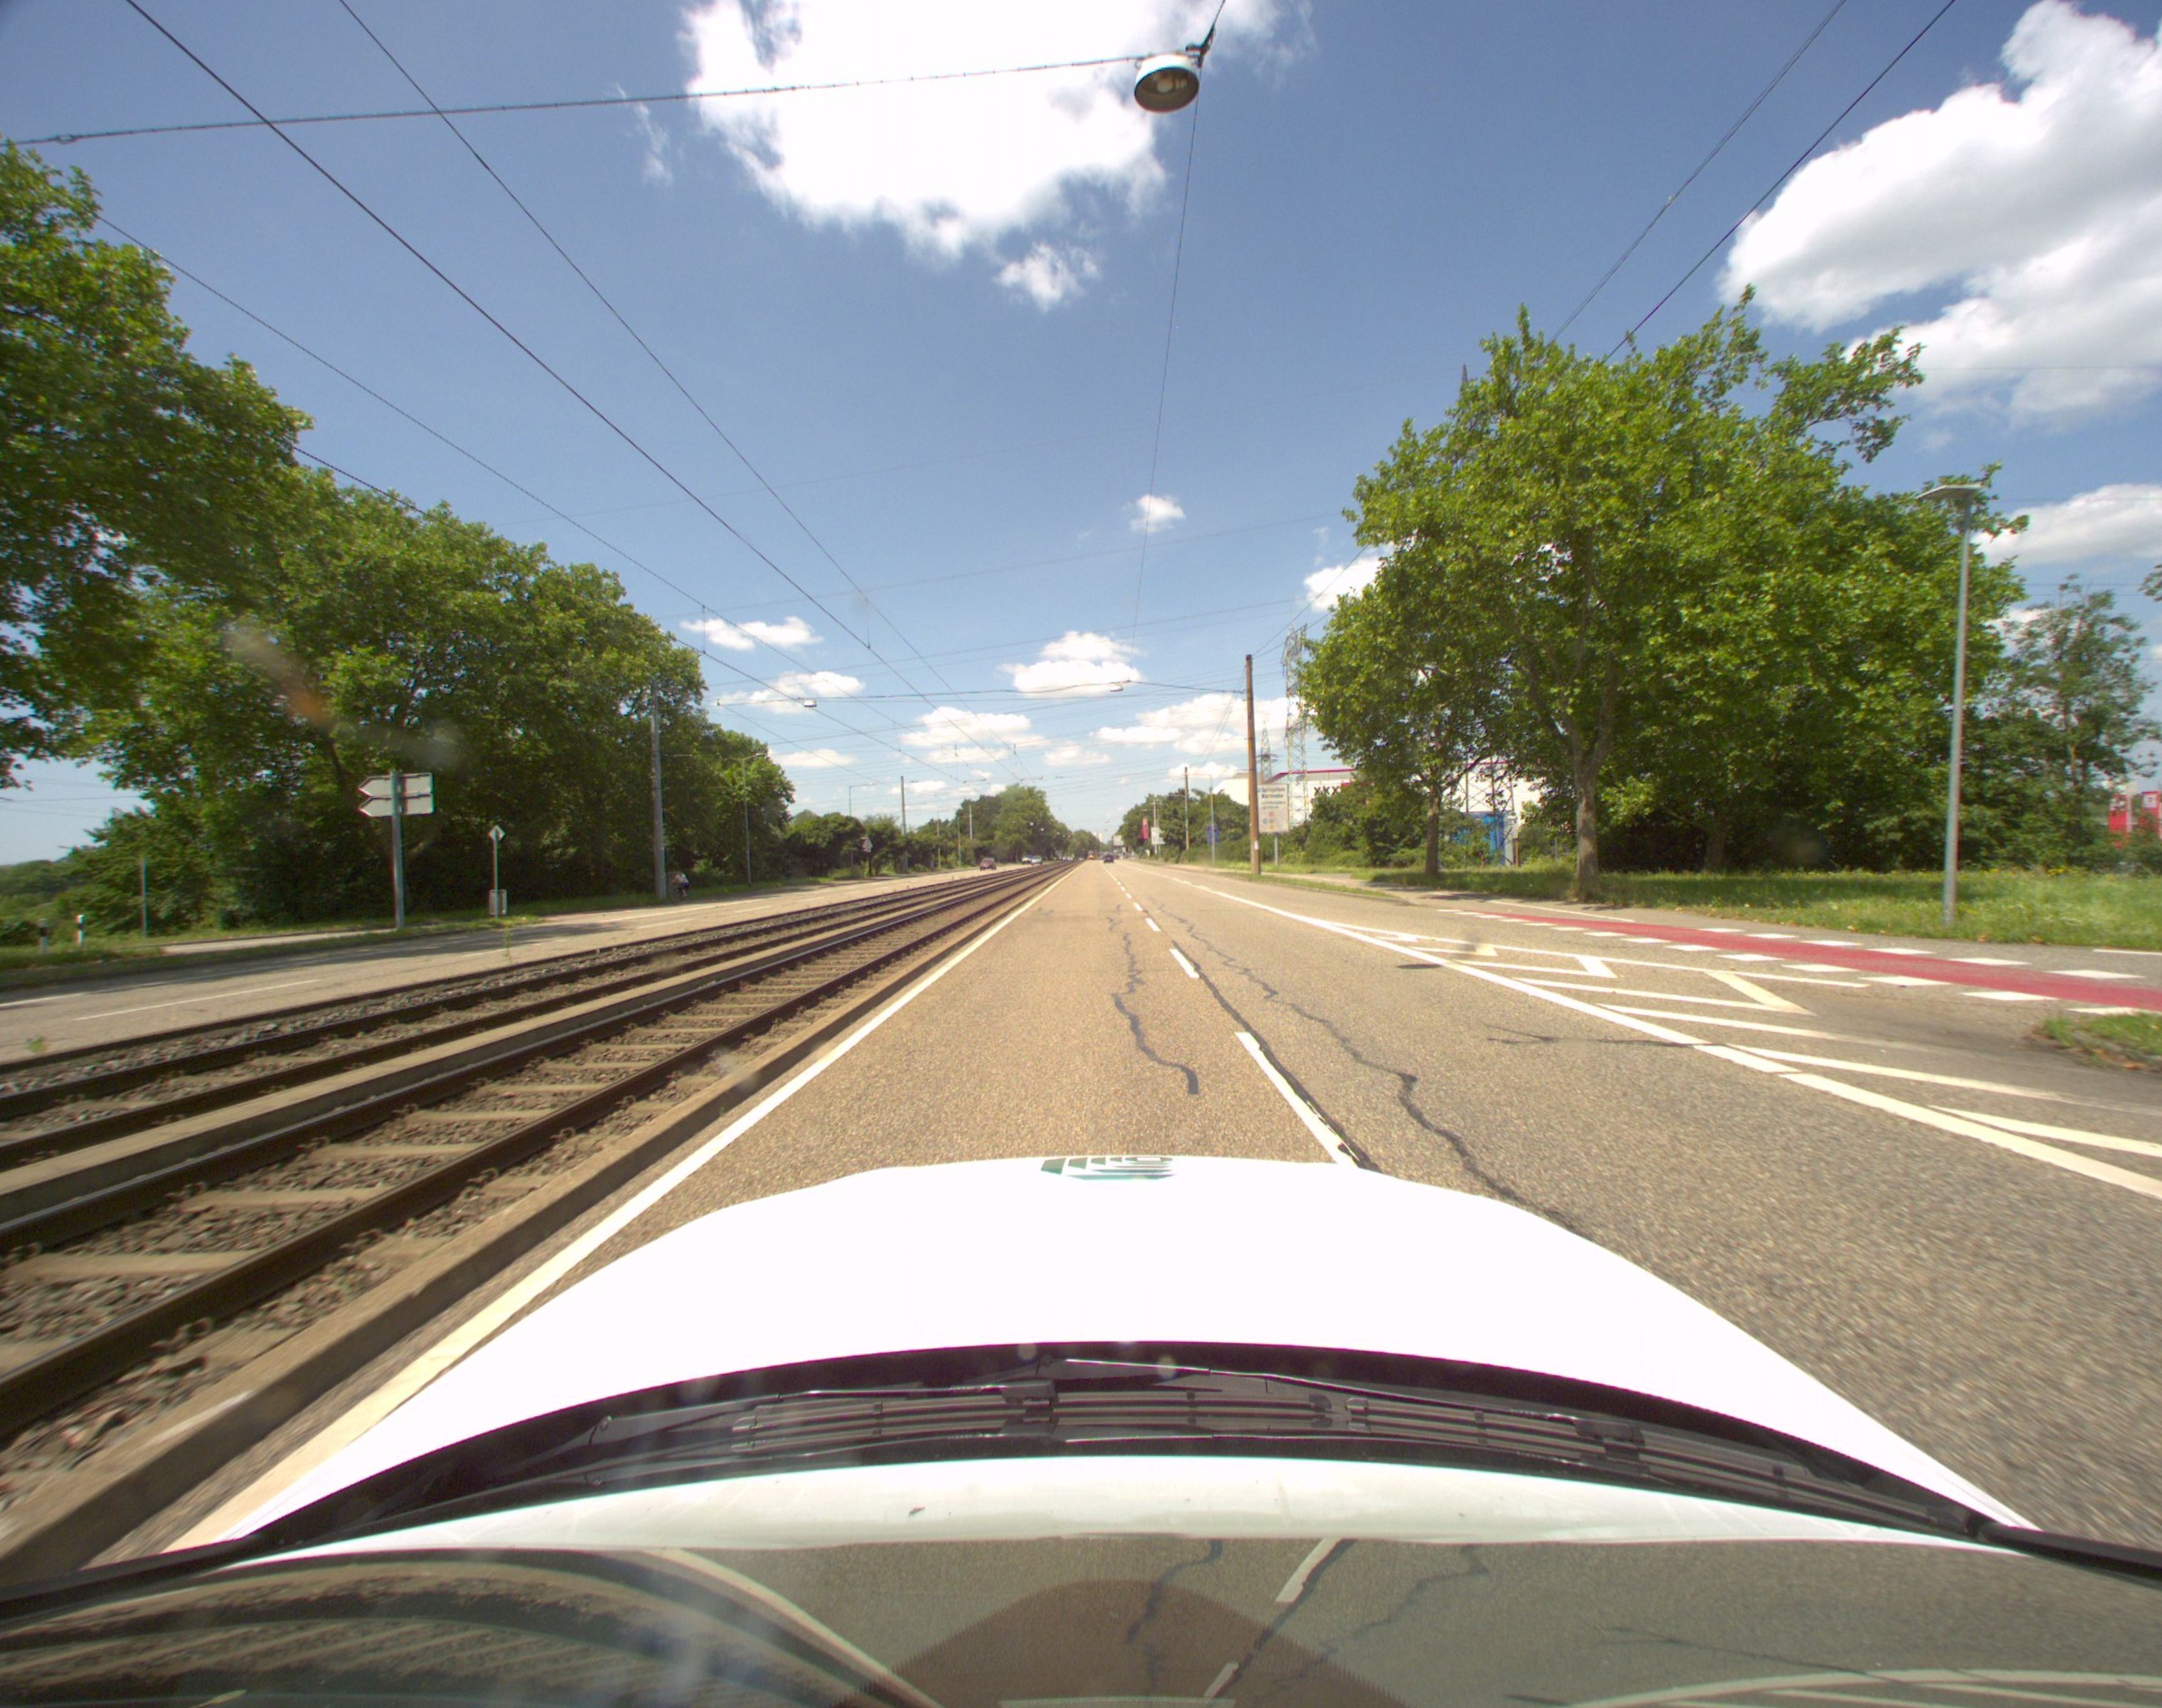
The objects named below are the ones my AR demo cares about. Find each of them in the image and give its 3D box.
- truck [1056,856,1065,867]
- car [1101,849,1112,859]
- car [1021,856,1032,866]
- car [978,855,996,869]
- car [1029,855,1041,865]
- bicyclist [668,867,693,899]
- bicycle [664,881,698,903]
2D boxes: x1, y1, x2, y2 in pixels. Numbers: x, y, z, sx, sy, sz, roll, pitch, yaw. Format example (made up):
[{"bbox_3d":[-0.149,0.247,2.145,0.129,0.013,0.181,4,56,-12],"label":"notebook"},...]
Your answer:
[{"bbox_3d":[-6.552,2.310,260.282,2.241,3.236,6.045,-2,0,2],"label":"truck"},{"bbox_3d":[4.461,0.054,143.369,1.893,1.805,3.976,0,0,1],"label":"car"},{"bbox_3d":[-11.302,1.343,168.821,1.851,1.927,5.008,-4,0,1],"label":"car"},{"bbox_3d":[-12.412,1.015,107.795,1.795,1.625,4.212,-3,0,1],"label":"car"},{"bbox_3d":[-8.207,0.992,146.733,1.795,1.625,4.494,-3,0,1],"label":"car"},{"bbox_3d":[-19.693,1.430,40.091,0.619,1.518,1.160,-2,0,0],"label":"bicyclist"},{"bbox_3d":[-19.675,1.847,40.107,0.619,0.939,2.091,-2,0,0],"label":"bicycle"}]
